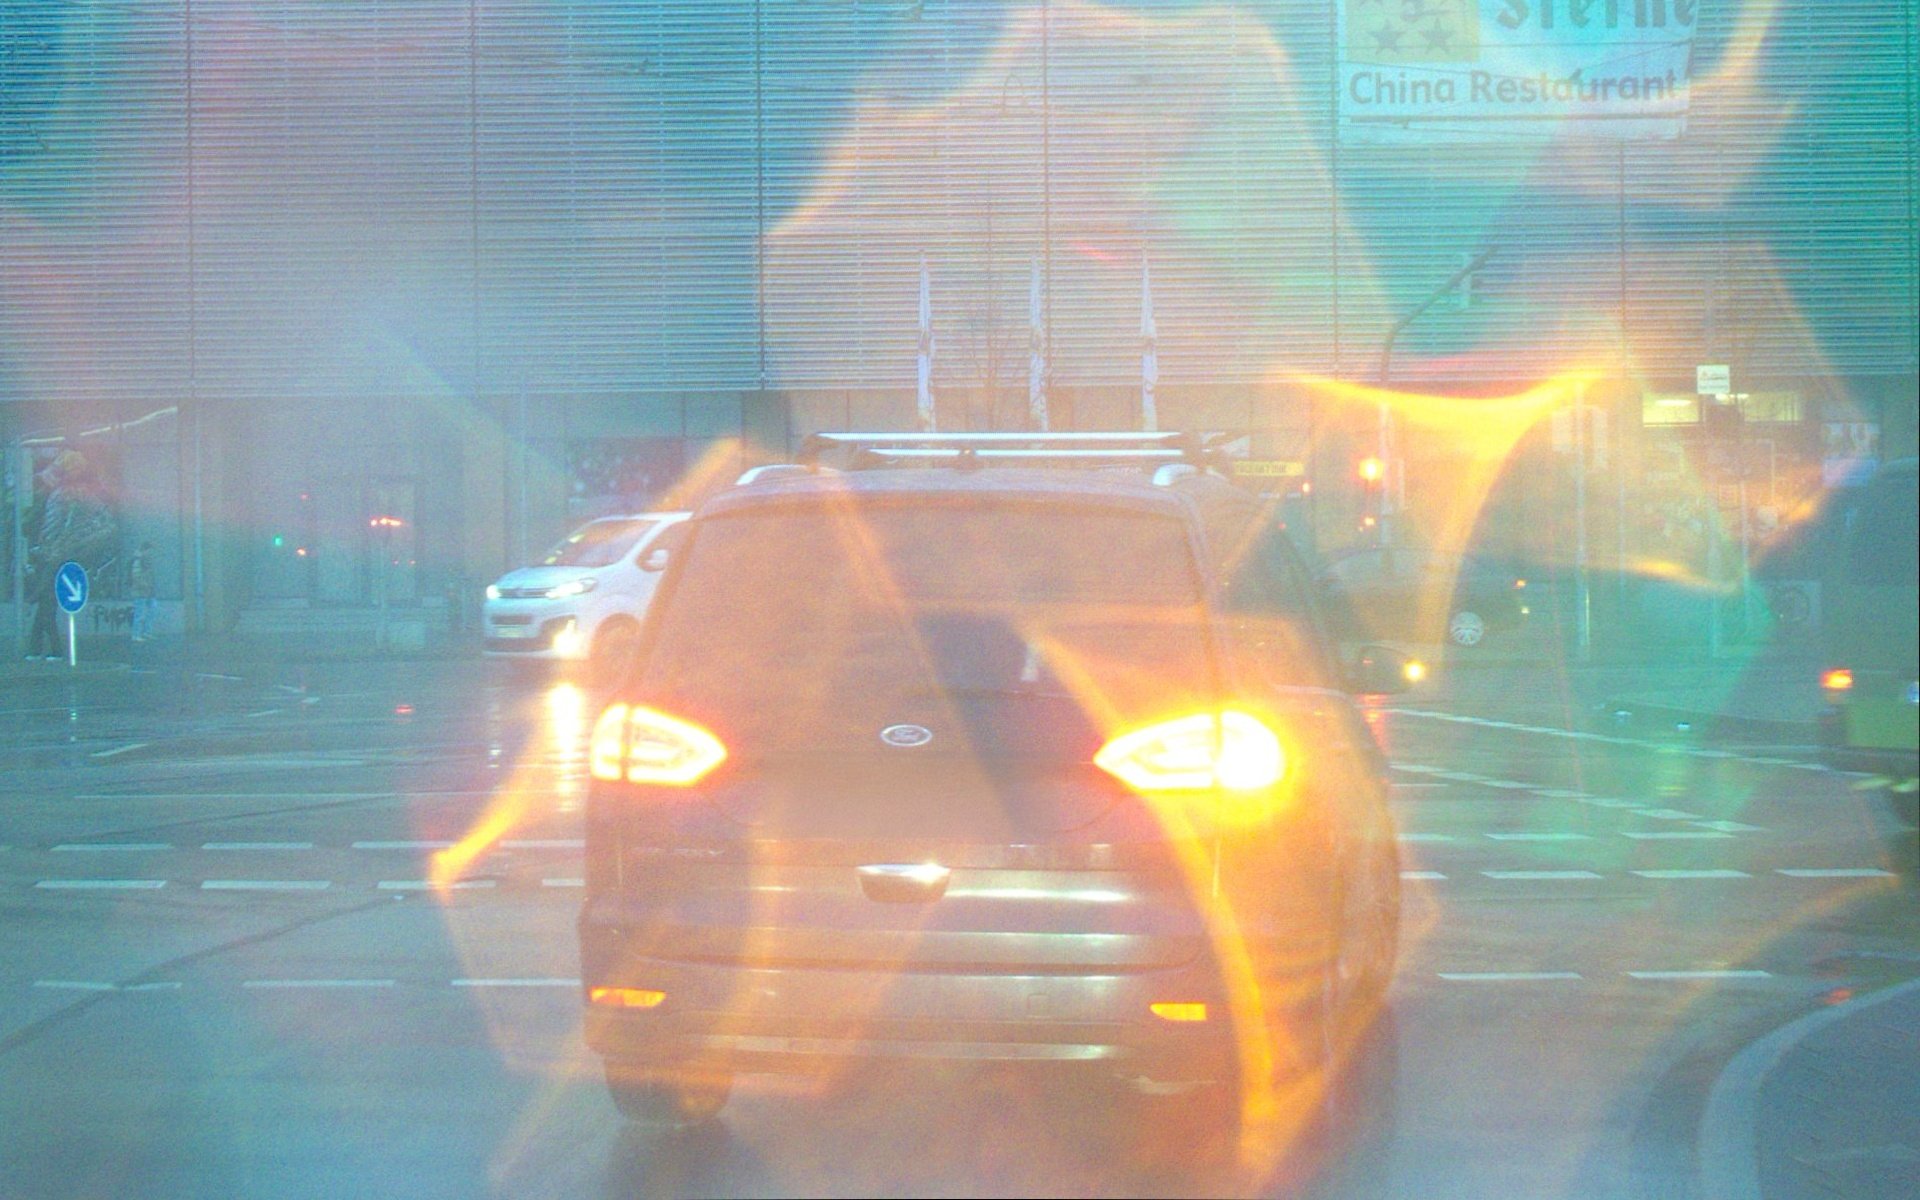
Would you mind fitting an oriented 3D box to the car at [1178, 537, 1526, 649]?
[{"bbox_3d":[5.301,-0.111,46.698,4.408,1.440,1.630,-1,1,-8],"label":"car"}]

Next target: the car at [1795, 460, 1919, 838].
[{"bbox_3d":[6.499,0.202,17.495,4.472,1.800,1.849,-1,1,-34],"label":"car"}]

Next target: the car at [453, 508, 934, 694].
[{"bbox_3d":[-3.062,-0.031,40.579,5.646,2.052,1.952,-1,1,-43],"label":"car"}]

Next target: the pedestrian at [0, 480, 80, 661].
[{"bbox_3d":[-15.029,-0.476,56.151,0.963,2.915,1.114,1,0,2],"label":"pedestrian"}]

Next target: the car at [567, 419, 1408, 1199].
[{"bbox_3d":[0.301,0.467,9.716,1.674,1.773,3.998,-1,1,11],"label":"car"}]

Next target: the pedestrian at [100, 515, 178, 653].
[{"bbox_3d":[-14.632,-0.285,61.289,1.110,2.431,0.966,1,0,2],"label":"pedestrian"}]
